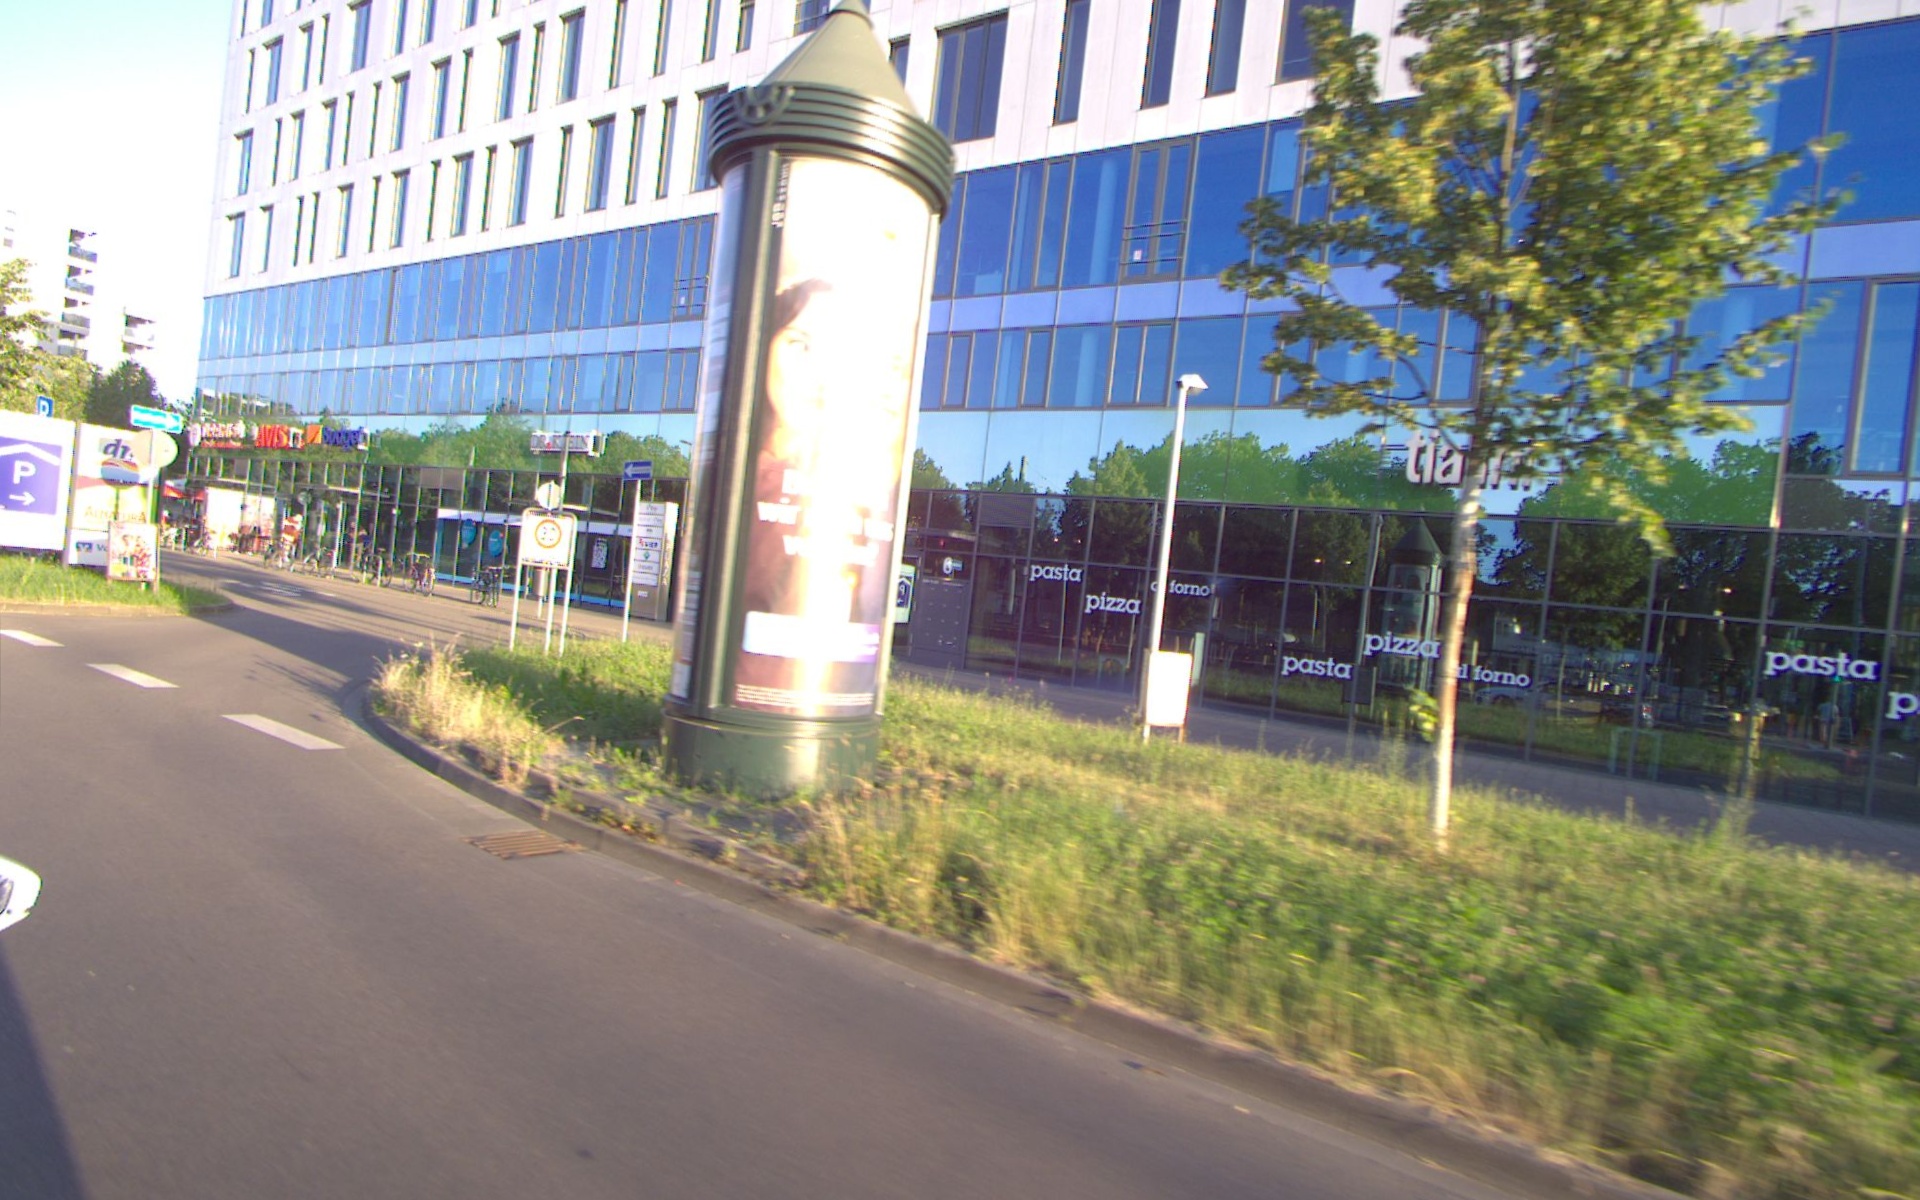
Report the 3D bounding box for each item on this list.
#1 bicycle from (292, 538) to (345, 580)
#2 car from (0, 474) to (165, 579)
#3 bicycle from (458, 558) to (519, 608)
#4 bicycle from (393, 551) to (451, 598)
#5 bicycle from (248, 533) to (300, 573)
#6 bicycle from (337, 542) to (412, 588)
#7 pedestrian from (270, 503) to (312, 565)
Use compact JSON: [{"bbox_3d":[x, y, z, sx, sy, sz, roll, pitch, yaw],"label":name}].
[{"bbox_3d":[-19.605,-1.272,30.728,2.090,1.081,0.634,7,1,38],"label":"bicycle"},{"bbox_3d":[-19.936,-1.673,22.613,4.324,1.849,1.853,6,-2,34],"label":"car"},{"bbox_3d":[-12.091,-0.445,25.761,1.976,1.081,0.541,7,1,40],"label":"bicycle"},{"bbox_3d":[-14.587,-0.711,27.248,2.093,1.081,0.633,7,1,42],"label":"bicycle"},{"bbox_3d":[-21.820,-1.506,31.983,2.089,1.081,0.634,7,1,36],"label":"bicycle"},{"bbox_3d":[-16.953,-1.011,29.104,2.083,1.081,0.636,7,1,21],"label":"bicycle"},{"bbox_3d":[-24.292,-2.387,36.532,1.095,2.117,0.812,7,2,35],"label":"pedestrian"}]
